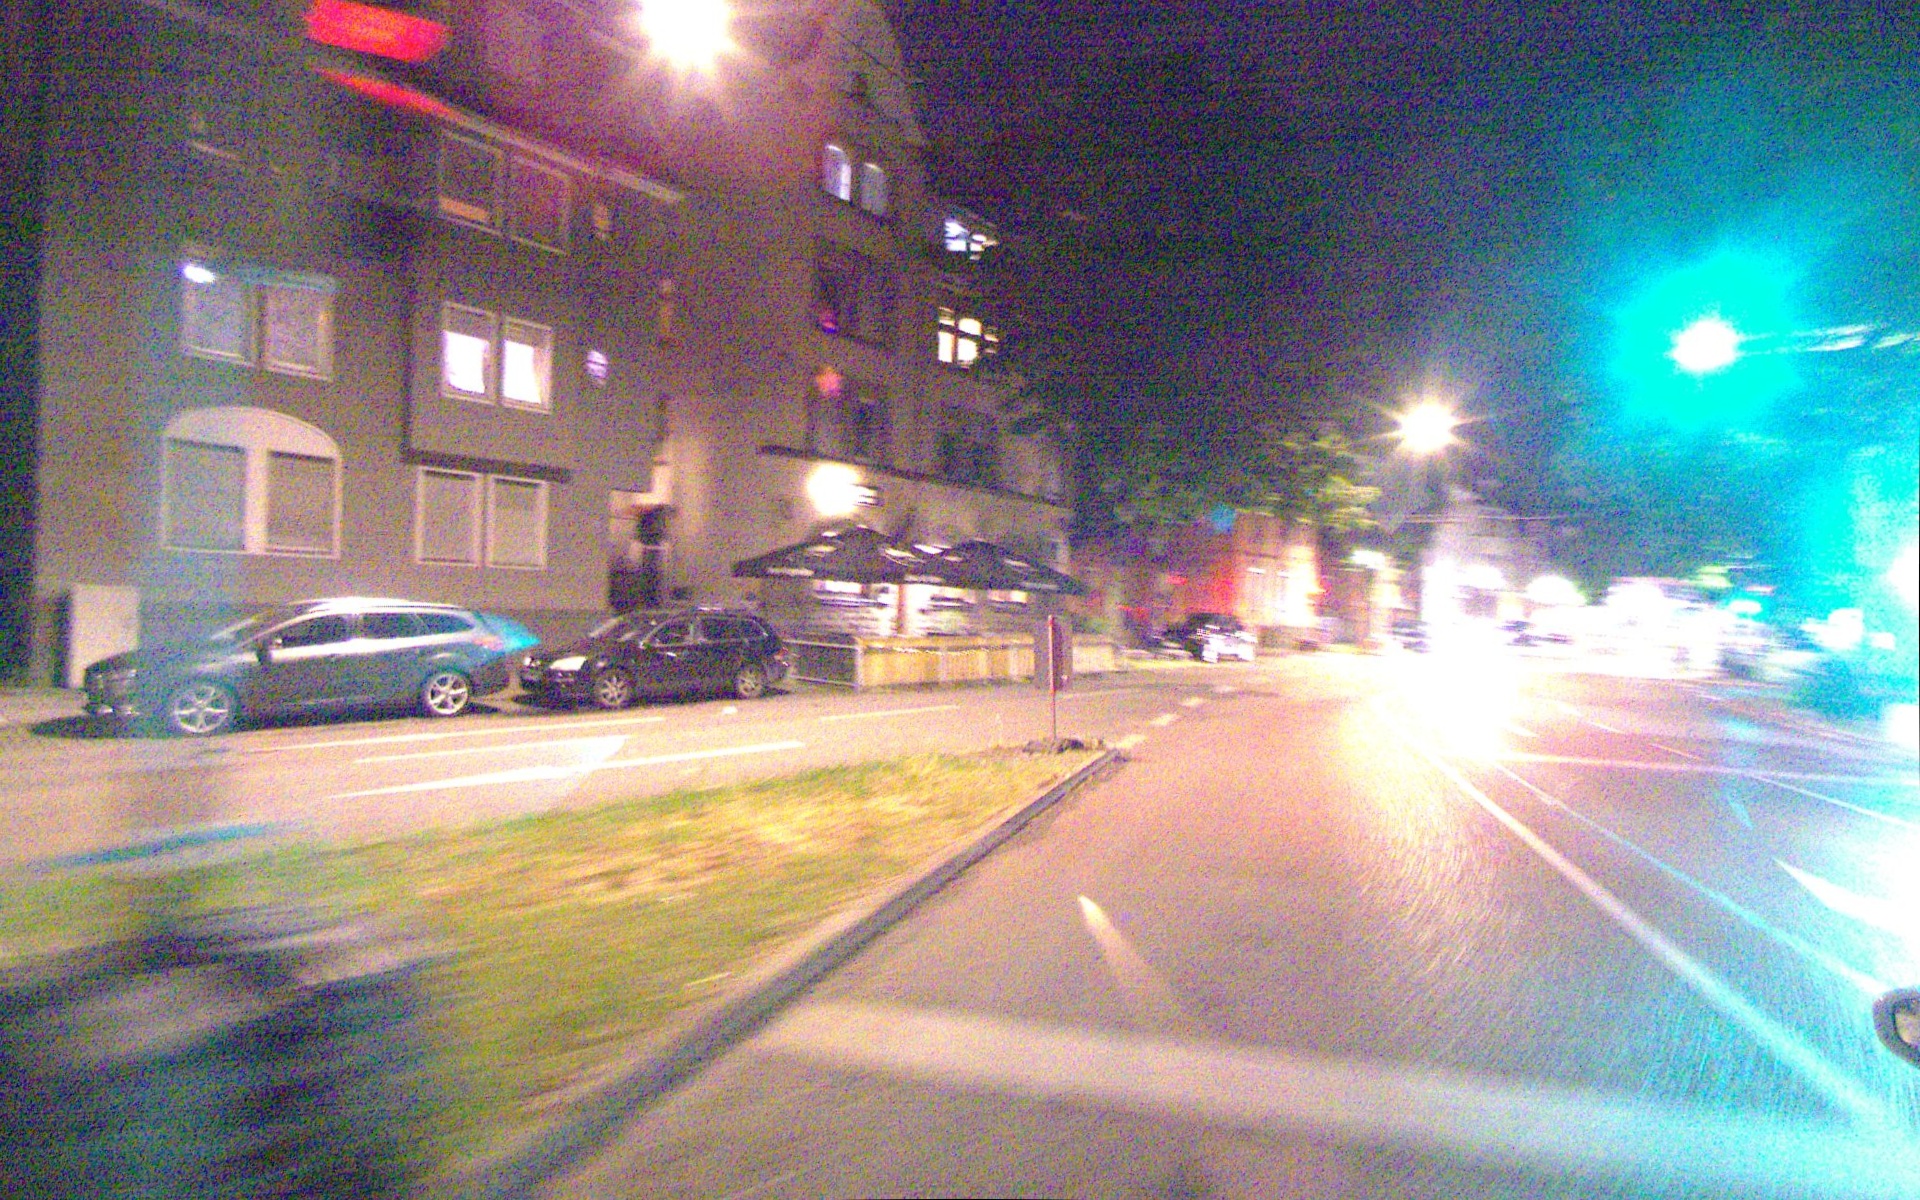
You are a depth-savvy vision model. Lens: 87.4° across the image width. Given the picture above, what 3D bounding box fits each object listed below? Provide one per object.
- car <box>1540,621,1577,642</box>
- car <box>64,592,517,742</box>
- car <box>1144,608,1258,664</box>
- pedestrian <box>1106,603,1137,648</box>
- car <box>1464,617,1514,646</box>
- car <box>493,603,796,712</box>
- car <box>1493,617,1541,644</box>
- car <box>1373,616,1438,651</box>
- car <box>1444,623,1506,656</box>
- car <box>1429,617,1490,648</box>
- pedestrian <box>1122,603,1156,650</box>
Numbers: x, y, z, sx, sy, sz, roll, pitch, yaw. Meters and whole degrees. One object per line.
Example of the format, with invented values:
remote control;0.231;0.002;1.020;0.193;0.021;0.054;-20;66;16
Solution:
car;44.880;2.326;75.286;1.763;1.434;4.108;4;2;39
car;-8.241;0.744;12.726;1.839;1.499;4.450;3;1;41
car;7.947;1.144;32.897;1.865;1.617;4.002;4;1;42
pedestrian;6.215;0.983;38.674;0.989;1.713;0.704;1;0;-39
car;31.356;1.829;59.505;1.763;1.511;3.982;5;2;39
car;-5.012;0.870;16.477;1.839;1.452;4.421;4;1;41
car;36.470;1.985;65.724;1.764;1.603;4.387;5;3;42
car;21.582;1.630;48.609;3.675;1.511;1.576;2;3;-45
car;24.017;1.815;46.772;1.696;1.448;3.979;0;-1;41
car;27.497;1.766;55.228;1.765;1.511;4.305;5;3;42
pedestrian;6.732;0.990;37.780;1.114;1.713;0.704;1;0;-39
